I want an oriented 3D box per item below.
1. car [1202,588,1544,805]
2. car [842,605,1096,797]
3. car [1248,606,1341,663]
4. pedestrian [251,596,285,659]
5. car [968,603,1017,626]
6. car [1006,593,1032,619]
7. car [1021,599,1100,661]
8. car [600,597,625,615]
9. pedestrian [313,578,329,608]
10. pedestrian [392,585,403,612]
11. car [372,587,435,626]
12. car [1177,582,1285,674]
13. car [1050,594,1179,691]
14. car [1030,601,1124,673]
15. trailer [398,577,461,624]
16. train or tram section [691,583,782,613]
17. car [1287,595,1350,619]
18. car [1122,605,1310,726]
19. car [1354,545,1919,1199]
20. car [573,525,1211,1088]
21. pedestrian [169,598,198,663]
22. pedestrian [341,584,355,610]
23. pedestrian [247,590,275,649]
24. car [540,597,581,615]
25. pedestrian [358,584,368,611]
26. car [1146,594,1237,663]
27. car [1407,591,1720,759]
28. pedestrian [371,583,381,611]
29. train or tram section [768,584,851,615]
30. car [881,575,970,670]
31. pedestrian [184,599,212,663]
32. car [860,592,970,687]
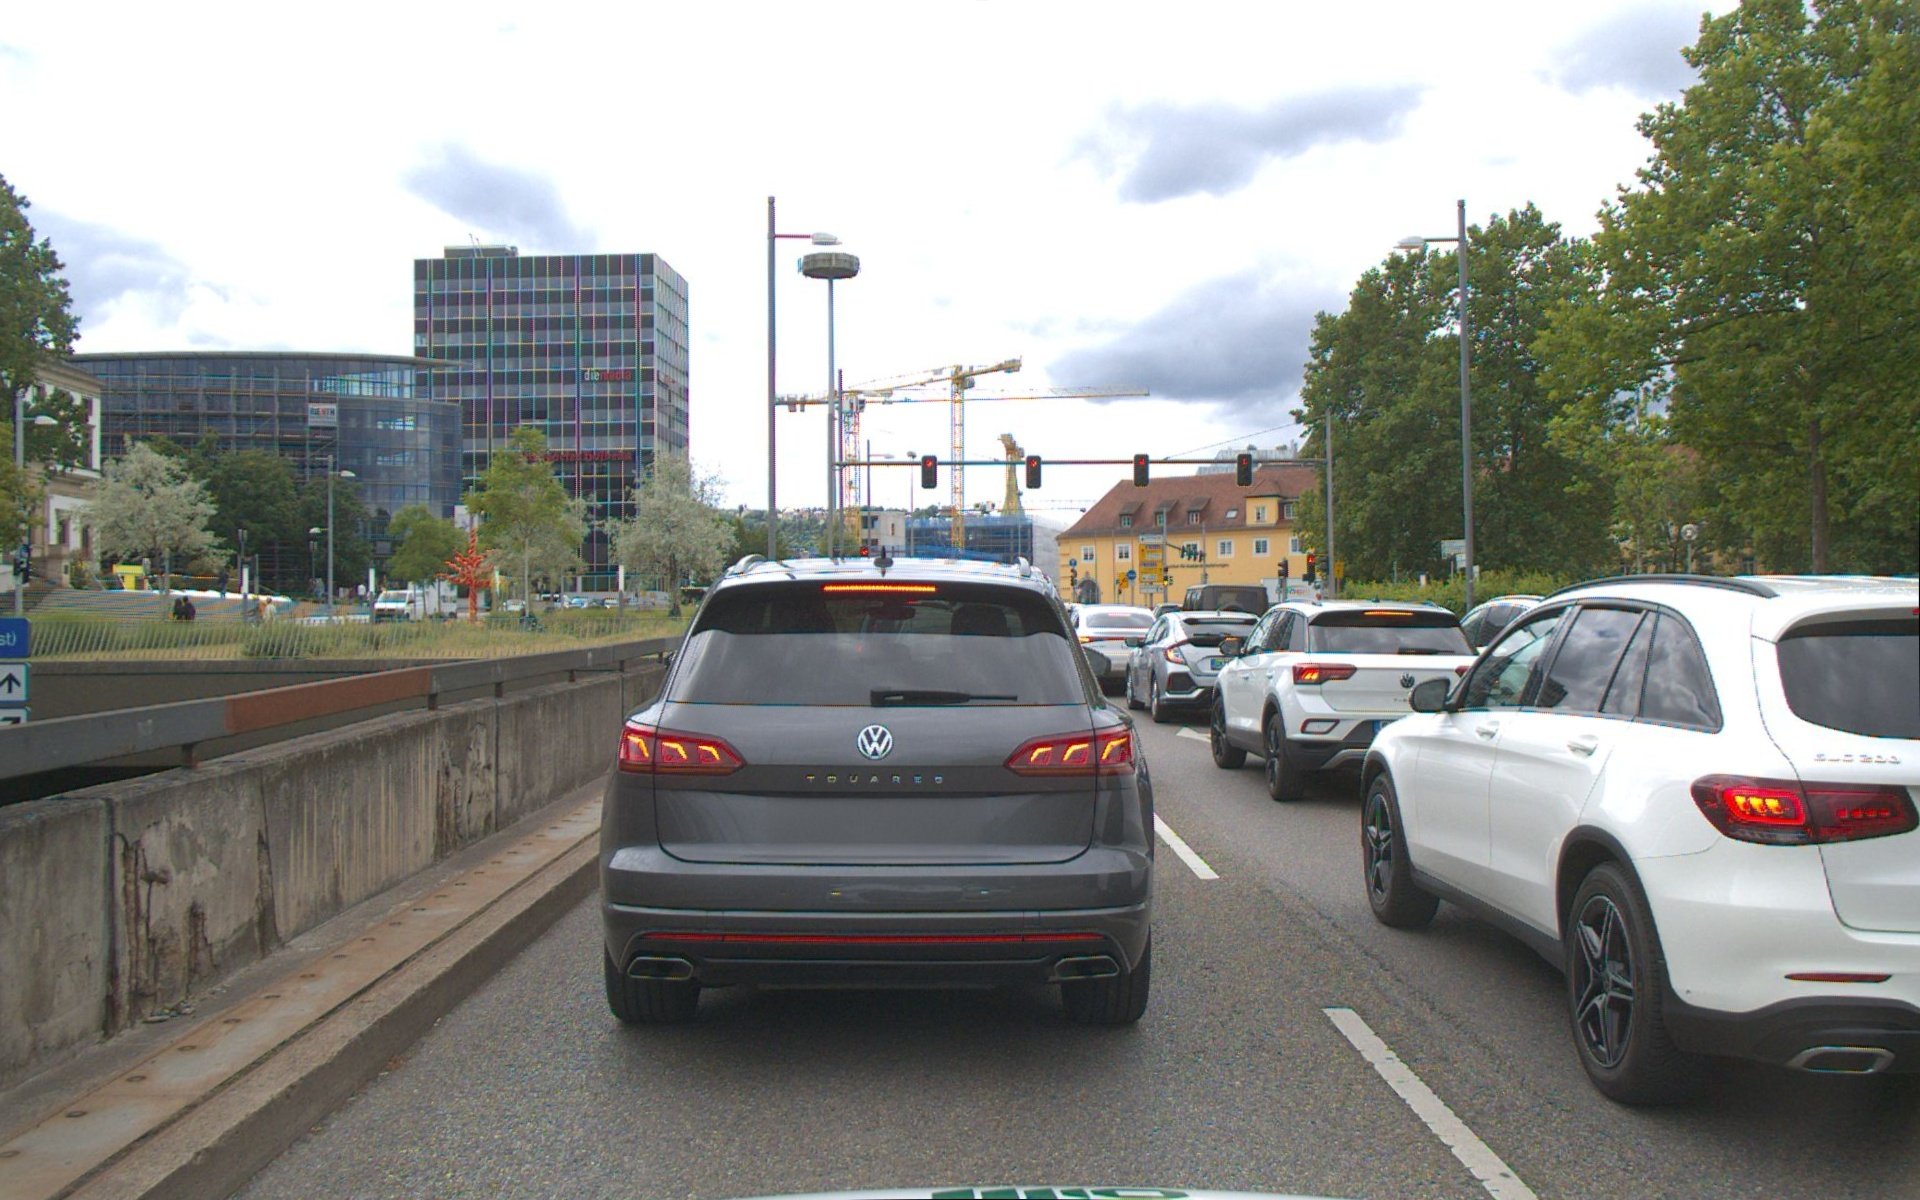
[{"bbox_3d":[3.366,0.736,14.412,1.887,1.578,4.489,0,-1,0],"label":"car"},{"bbox_3d":[0.035,0.778,14.617,1.912,1.408,3.930,2,0,-1],"label":"car"},{"bbox_3d":[9.296,0.945,46.175,1.722,1.472,3.632,2,-1,-2],"label":"car"},{"bbox_3d":[-22.858,0.911,54.606,0.843,2.048,0.628,0,1,28],"label":"pedestrian"},{"bbox_3d":[3.065,1.404,156.835,4.367,2.049,1.697,1,-2,33],"label":"car"},{"bbox_3d":[3.996,0.409,111.818,1.586,1.656,3.999,2,-1,0],"label":"car"},{"bbox_3d":[2.656,0.787,44.320,1.887,1.556,4.047,0,-1,0],"label":"car"},{"bbox_3d":[-32.322,0.579,153.858,1.698,1.521,3.592,2,-1,-3],"label":"car"},{"bbox_3d":[-44.561,-0.474,115.407,0.724,2.048,1.113,-1,1,-6],"label":"pedestrian"},{"bbox_3d":[-43.205,-0.152,127.000,0.728,2.048,1.108,-1,1,-21],"label":"pedestrian"},{"bbox_3d":[-31.492,0.332,93.759,1.953,2.048,4.692,0,1,0],"label":"car"},{"bbox_3d":[6.405,0.657,39.501,1.871,2.049,4.011,2,-1,0],"label":"car"},{"bbox_3d":[2.633,0.722,29.212,1.887,1.556,4.489,0,-1,0],"label":"car"},{"bbox_3d":[2.640,0.826,38.032,1.887,1.556,4.047,0,-1,0],"label":"car"},{"bbox_3d":[-31.529,-0.001,98.494,1.996,2.650,5.507,2,1,-1],"label":"trailer"},{"bbox_3d":[-24.389,-0.194,180.468,10.195,3.062,2.593,1,-2,28],"label":"train or tram section"},{"bbox_3d":[25.921,0.506,119.586,4.029,1.638,1.823,1,-2,35],"label":"car"},{"bbox_3d":[3.356,0.830,22.498,1.887,1.457,4.489,0,-1,0],"label":"car"},{"bbox_3d":[3.000,0.671,6.446,1.887,1.682,4.490,0,1,0],"label":"car"},{"bbox_3d":[-0.235,0.618,6.966,1.912,1.680,3.999,0,0,-1],"label":"car"},{"bbox_3d":[-25.178,0.980,53.646,0.781,2.049,0.829,-1,1,-28],"label":"pedestrian"},{"bbox_3d":[-47.739,-0.247,129.034,0.723,2.048,0.793,-1,1,0],"label":"pedestrian"},{"bbox_3d":[-24.952,0.678,59.020,0.716,2.047,0.628,-1,5,-8],"label":"pedestrian"},{"bbox_3d":[-40.115,0.607,166.013,4.142,1.631,1.746,1,-1,36],"label":"car"},{"bbox_3d":[-46.943,-0.197,129.989,0.728,2.048,0.788,-1,1,-21],"label":"pedestrian"},{"bbox_3d":[6.251,0.764,45.039,1.871,1.727,4.011,2,-1,0],"label":"car"},{"bbox_3d":[6.596,0.747,18.635,1.953,1.668,4.304,0,0,0],"label":"car"},{"bbox_3d":[-44.401,-0.225,125.733,0.728,2.048,0.788,-1,1,-21],"label":"pedestrian"},{"bbox_3d":[-16.005,-0.062,176.078,8.750,3.062,2.593,1,-2,28],"label":"train or tram section"},{"bbox_3d":[-0.800,0.507,38.771,1.912,2.053,3.930,2,0,-1],"label":"car"},{"bbox_3d":[-25.054,1.002,54.373,0.781,2.049,0.829,-1,1,-28],"label":"pedestrian"},{"bbox_3d":[-0.840,0.707,31.355,1.912,1.627,3.930,2,0,-1],"label":"car"}]
